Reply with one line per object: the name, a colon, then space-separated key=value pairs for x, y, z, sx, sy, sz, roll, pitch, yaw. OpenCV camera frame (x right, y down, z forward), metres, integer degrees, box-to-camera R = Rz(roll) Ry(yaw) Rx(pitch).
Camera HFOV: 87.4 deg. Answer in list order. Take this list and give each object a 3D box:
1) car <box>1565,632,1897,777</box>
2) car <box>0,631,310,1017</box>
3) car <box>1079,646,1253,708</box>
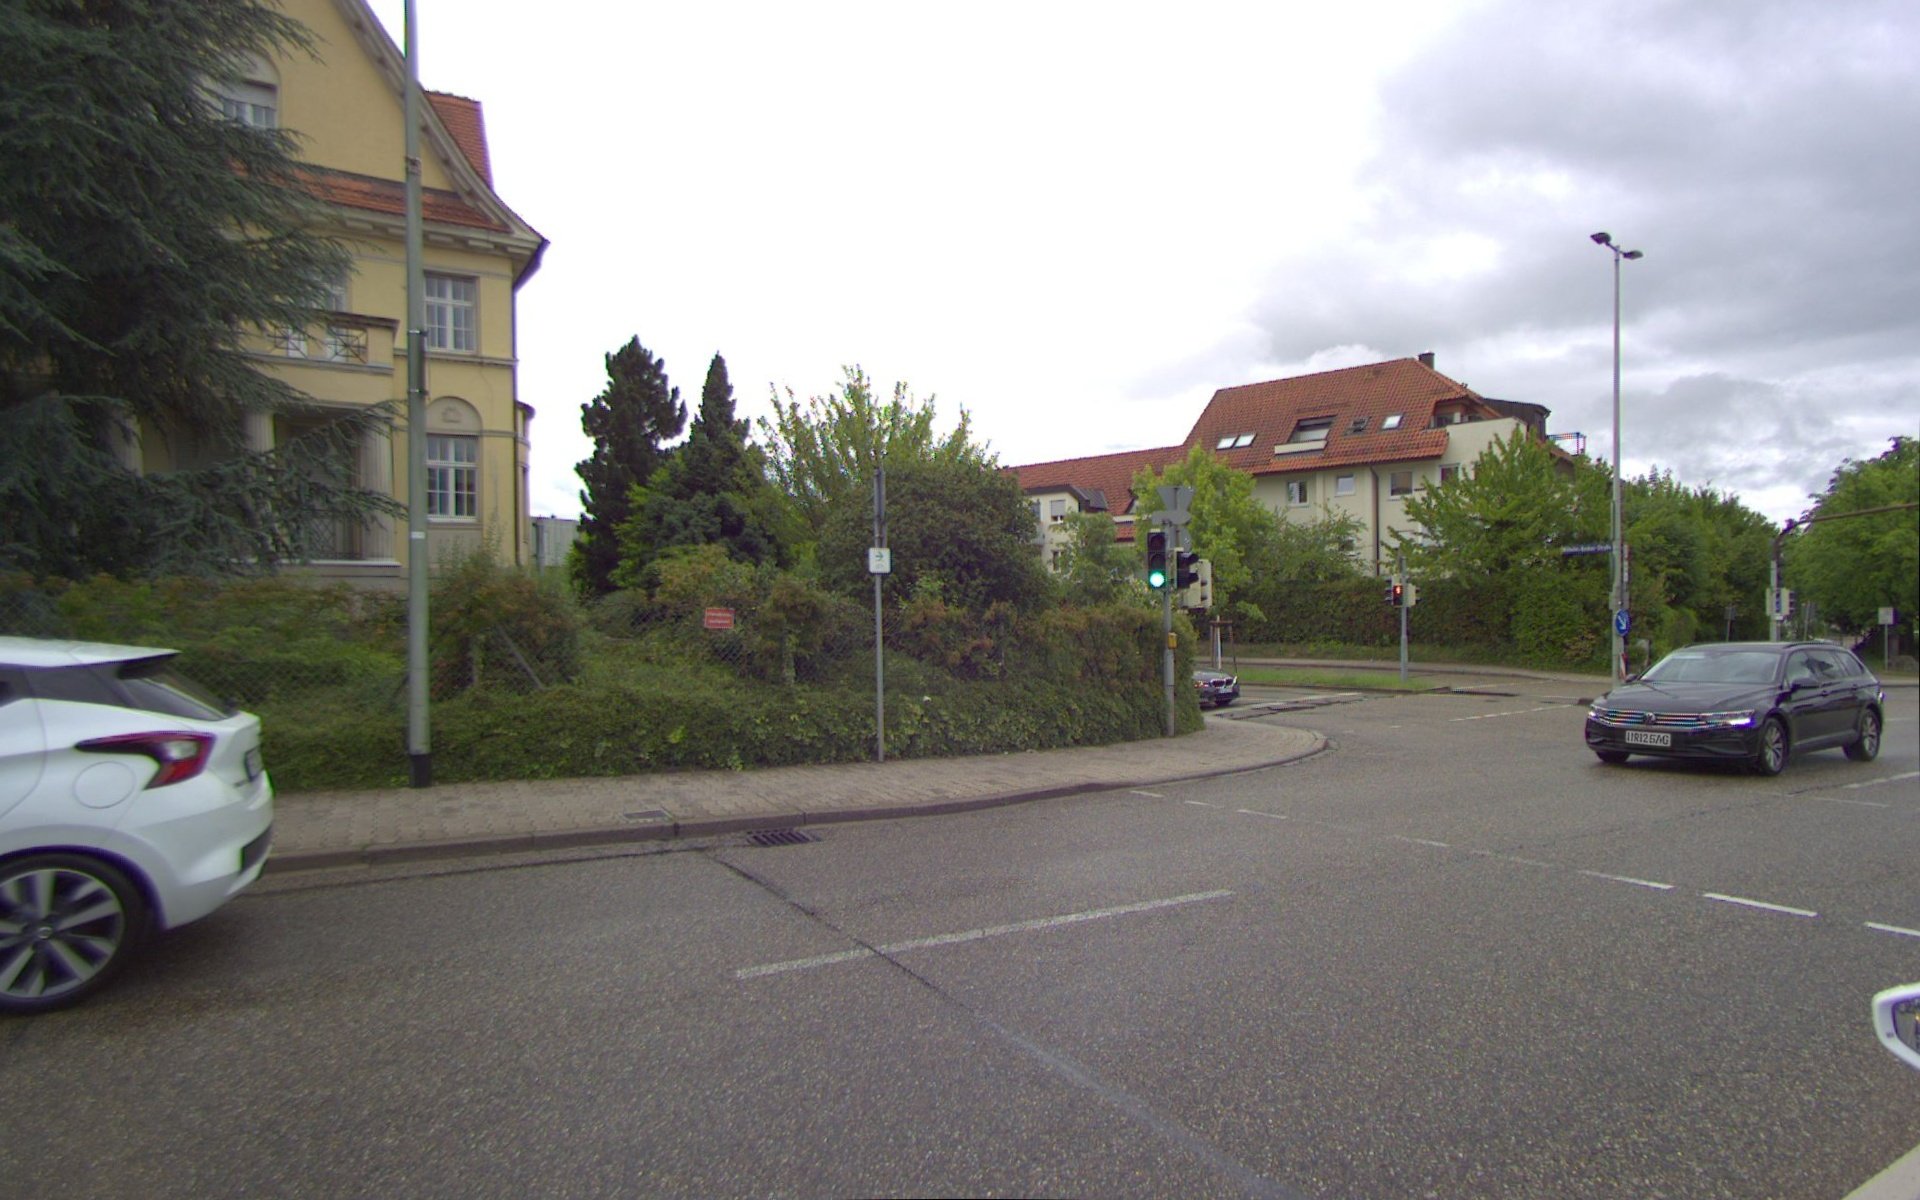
car: x=9.623 y=1.194 z=12.463 sx=4.421 sy=1.521 sz=1.767 roll=2 pitch=-4 yaw=-31
car: x=-4.867 y=0.840 z=3.940 sx=3.757 sy=1.415 sz=1.738 roll=1 pitch=-3 yaw=-30
car: x=5.273 y=1.985 z=26.241 sx=1.759 sy=1.411 sz=4.392 roll=-1 pitch=-3 yaw=-36
